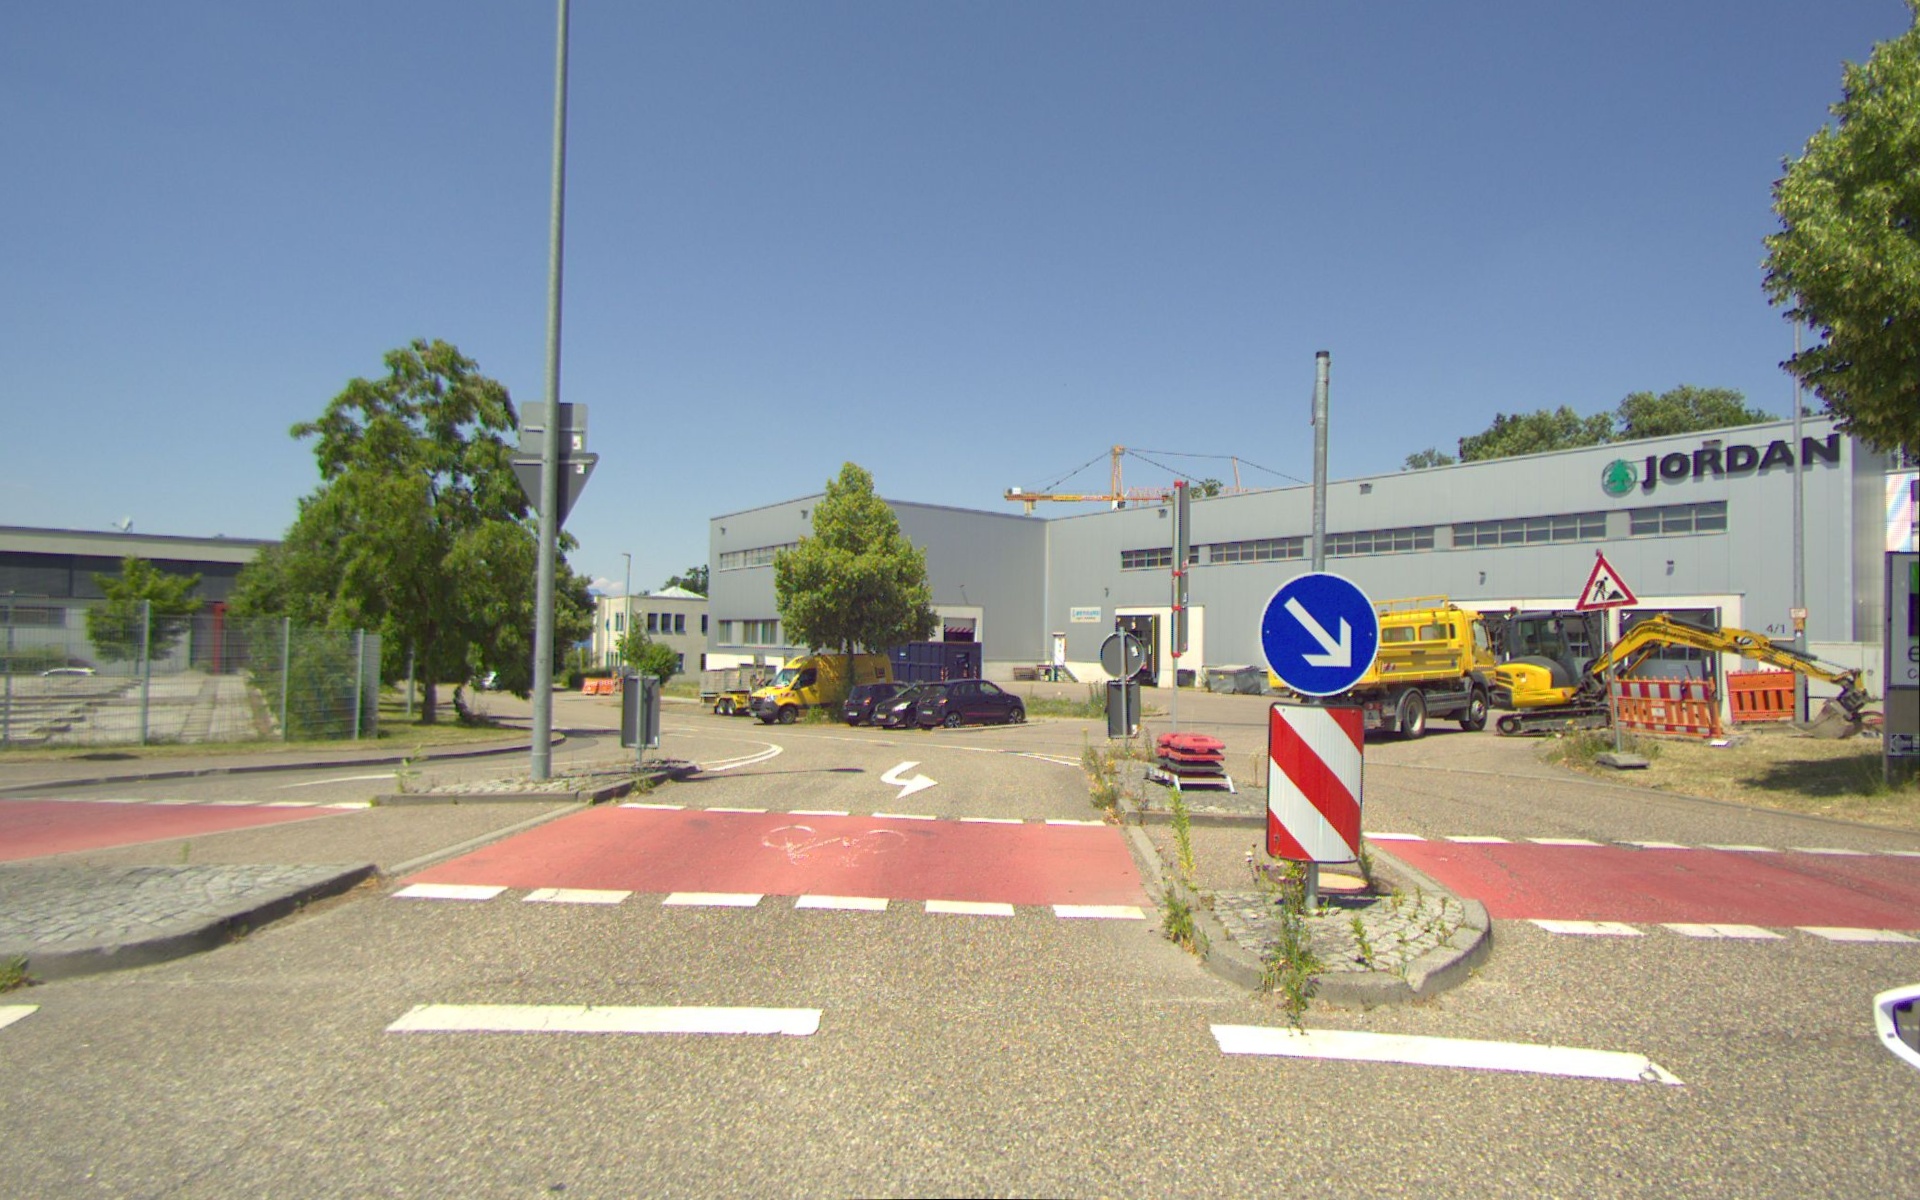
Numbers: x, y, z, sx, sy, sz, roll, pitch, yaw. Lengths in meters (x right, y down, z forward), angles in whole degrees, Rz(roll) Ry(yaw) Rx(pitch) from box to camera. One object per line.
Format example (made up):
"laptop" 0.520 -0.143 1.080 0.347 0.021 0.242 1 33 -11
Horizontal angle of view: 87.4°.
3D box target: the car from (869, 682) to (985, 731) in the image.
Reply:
"car" -1.073 3.547 33.748 3.750 1.526 1.574 3 -5 -39

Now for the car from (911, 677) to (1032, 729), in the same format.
"car" 0.388 3.234 32.003 3.637 1.481 1.611 1 -4 -36

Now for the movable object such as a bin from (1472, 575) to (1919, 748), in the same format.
"movable object such as a bin" 13.182 1.225 18.573 1.977 2.613 6.526 3 -6 -31

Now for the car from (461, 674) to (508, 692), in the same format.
"car" -41.925 7.303 88.613 3.500 1.372 1.520 1 -3 -41

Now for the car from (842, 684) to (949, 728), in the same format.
"car" -2.278 3.756 35.946 3.582 1.497 1.611 3 -5 -38

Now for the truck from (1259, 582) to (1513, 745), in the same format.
"truck" 9.724 1.372 22.645 6.373 3.176 2.566 1 -5 -41

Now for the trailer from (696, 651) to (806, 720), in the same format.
"trailer" -9.529 3.818 45.464 2.643 2.894 5.458 1 -4 -40

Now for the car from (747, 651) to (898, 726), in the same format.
"car" -5.351 3.393 39.647 5.747 2.768 1.979 2 -3 -38

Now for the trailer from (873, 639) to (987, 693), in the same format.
"trailer" -1.758 3.522 54.830 2.641 2.452 7.344 4 -2 -34

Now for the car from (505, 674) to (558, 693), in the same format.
"car" -35.078 6.816 82.279 3.662 1.372 1.626 1 -3 -41
